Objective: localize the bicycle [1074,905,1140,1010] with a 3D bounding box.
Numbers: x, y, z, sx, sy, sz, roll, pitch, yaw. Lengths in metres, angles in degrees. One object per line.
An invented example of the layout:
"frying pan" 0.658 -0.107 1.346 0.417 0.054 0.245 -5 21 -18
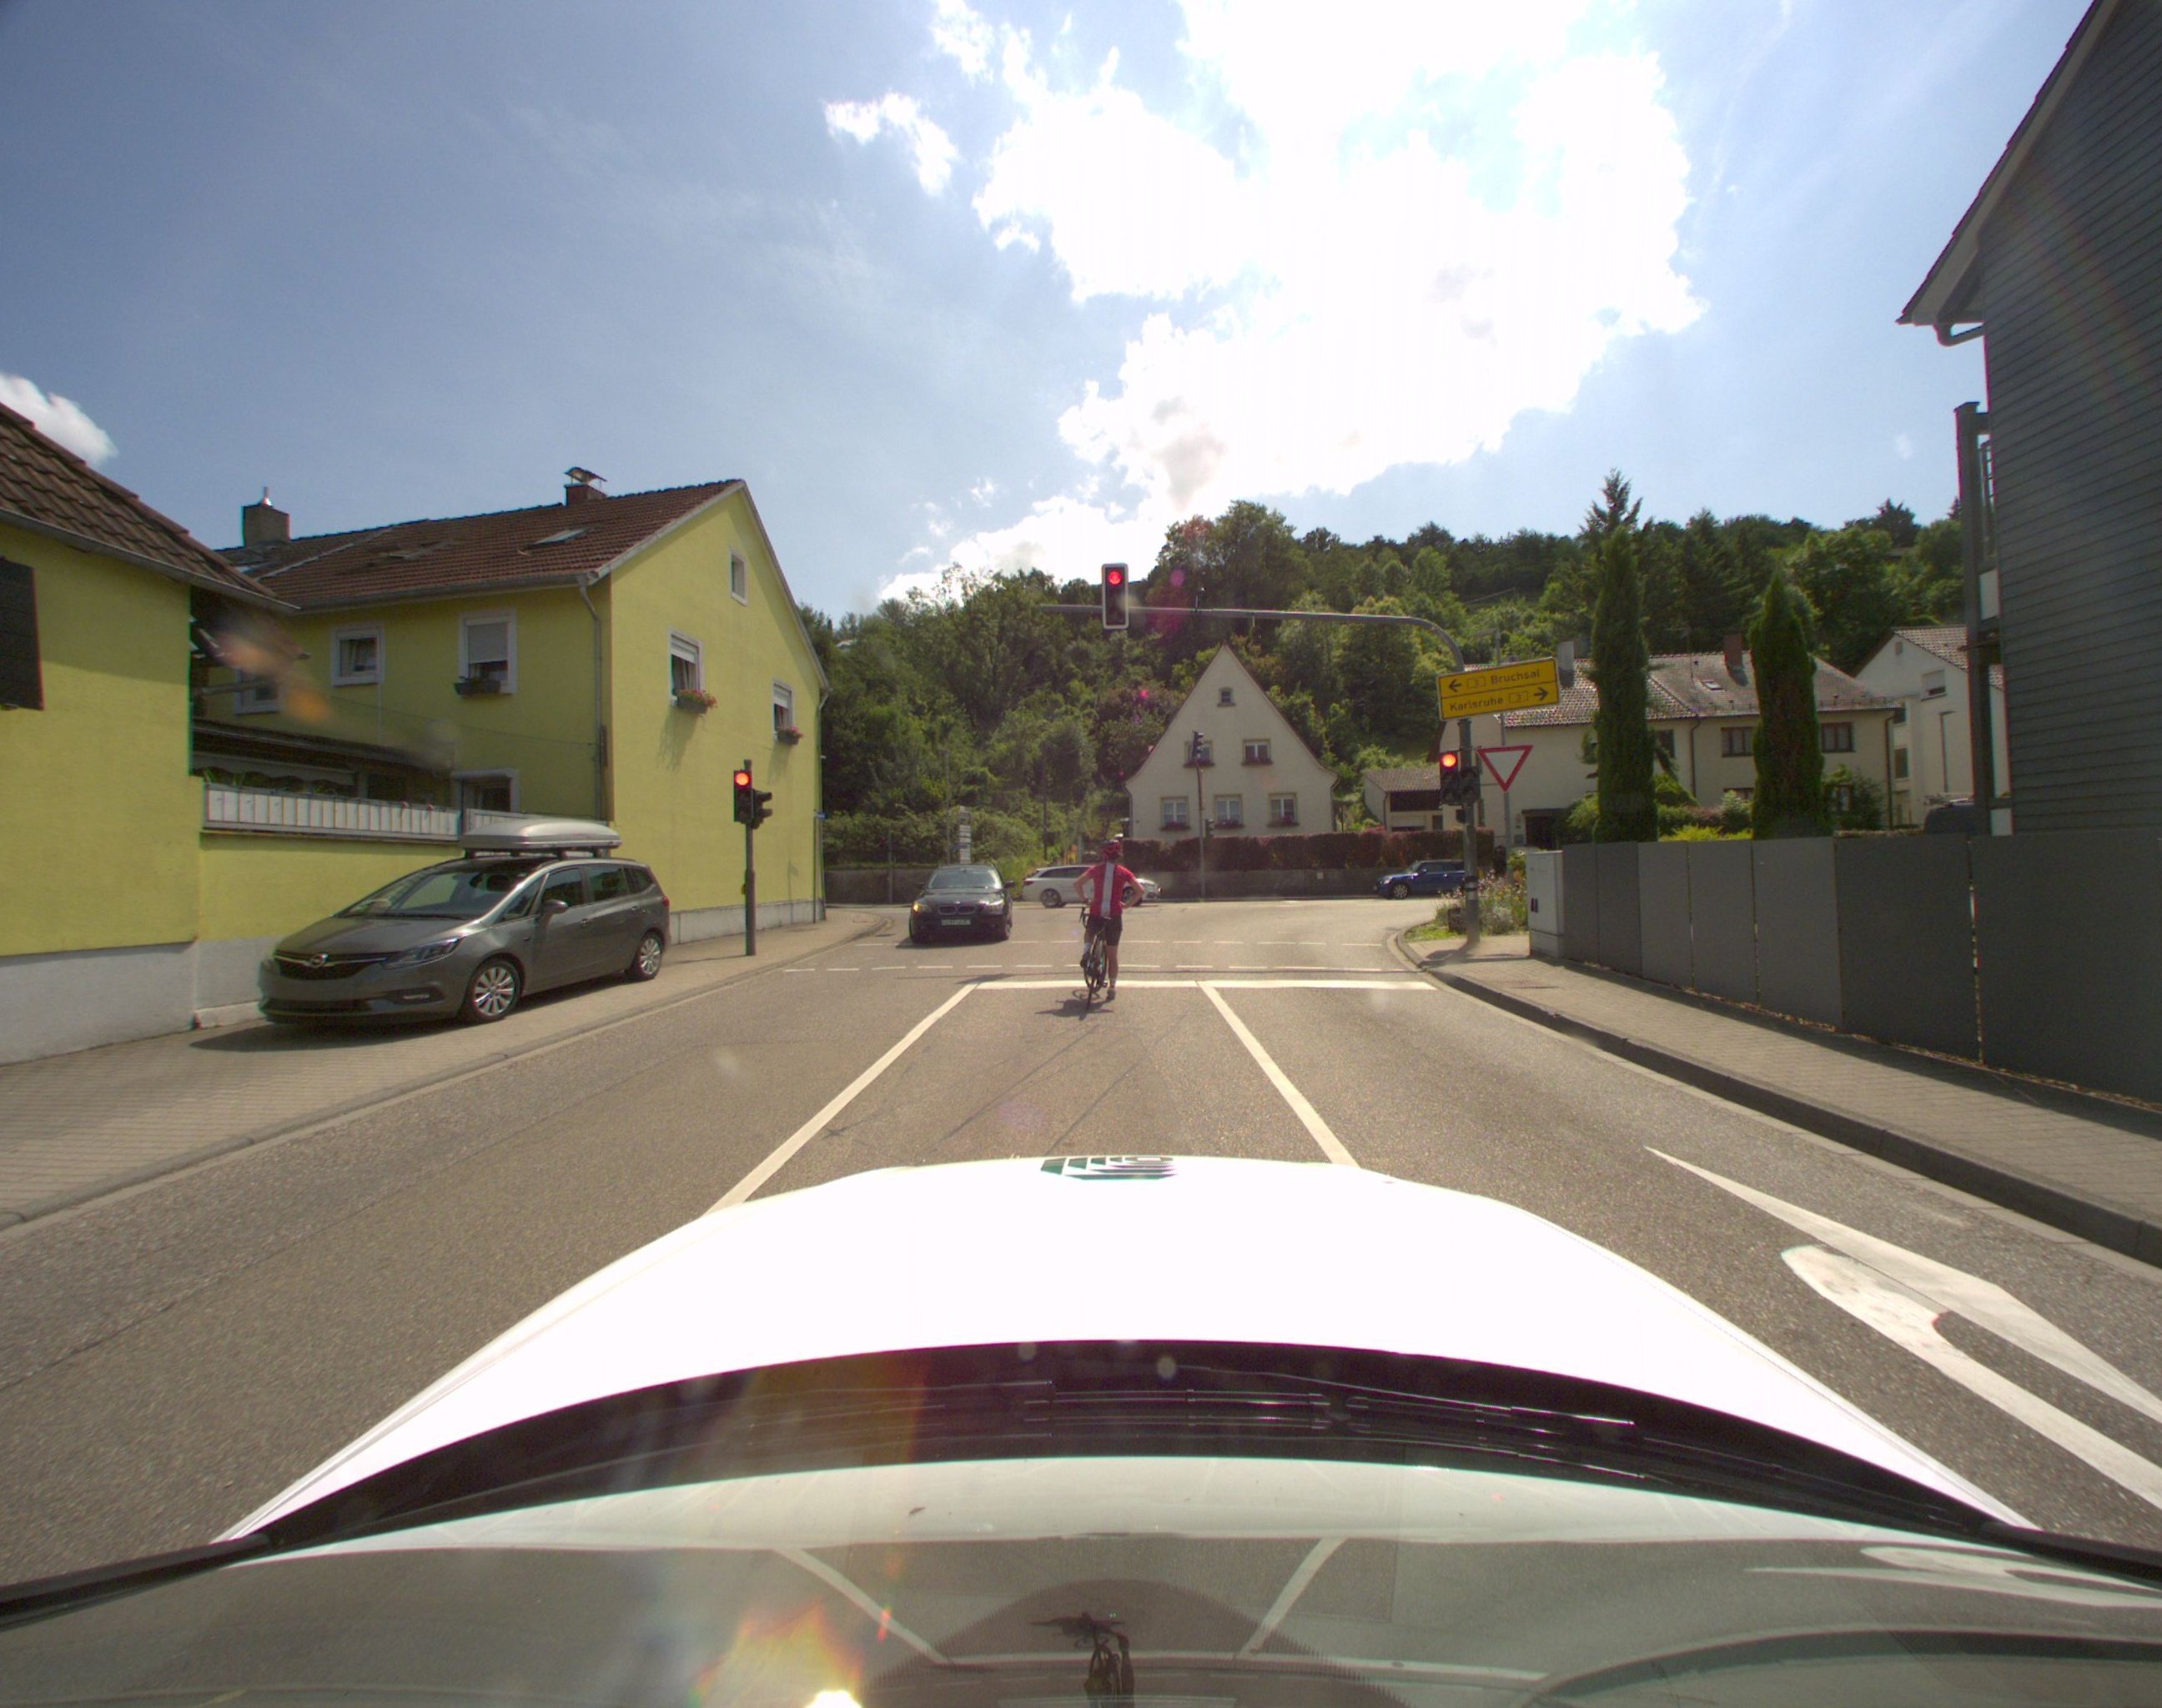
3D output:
"bicycle" 0.252 1.045 8.646 0.628 0.905 1.657 0 0 0

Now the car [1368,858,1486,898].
"car" 12.444 0.898 29.440 3.591 1.363 1.647 -1 -3 5

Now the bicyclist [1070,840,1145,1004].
"bicyclist" 0.271 0.694 8.725 0.758 1.664 0.868 0 -1 0

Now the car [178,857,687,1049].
"car" -6.677 0.860 9.297 1.986 1.635 4.631 0 0 2

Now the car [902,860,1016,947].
"car" -2.327 0.892 16.682 1.860 1.442 4.664 -3 0 -4

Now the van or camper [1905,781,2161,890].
"van or camper" 28.908 -0.513 24.244 5.957 3.005 2.224 -1 -1 9

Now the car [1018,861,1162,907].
"car" 0.357 1.021 27.593 4.637 1.427 1.931 -1 -3 8
